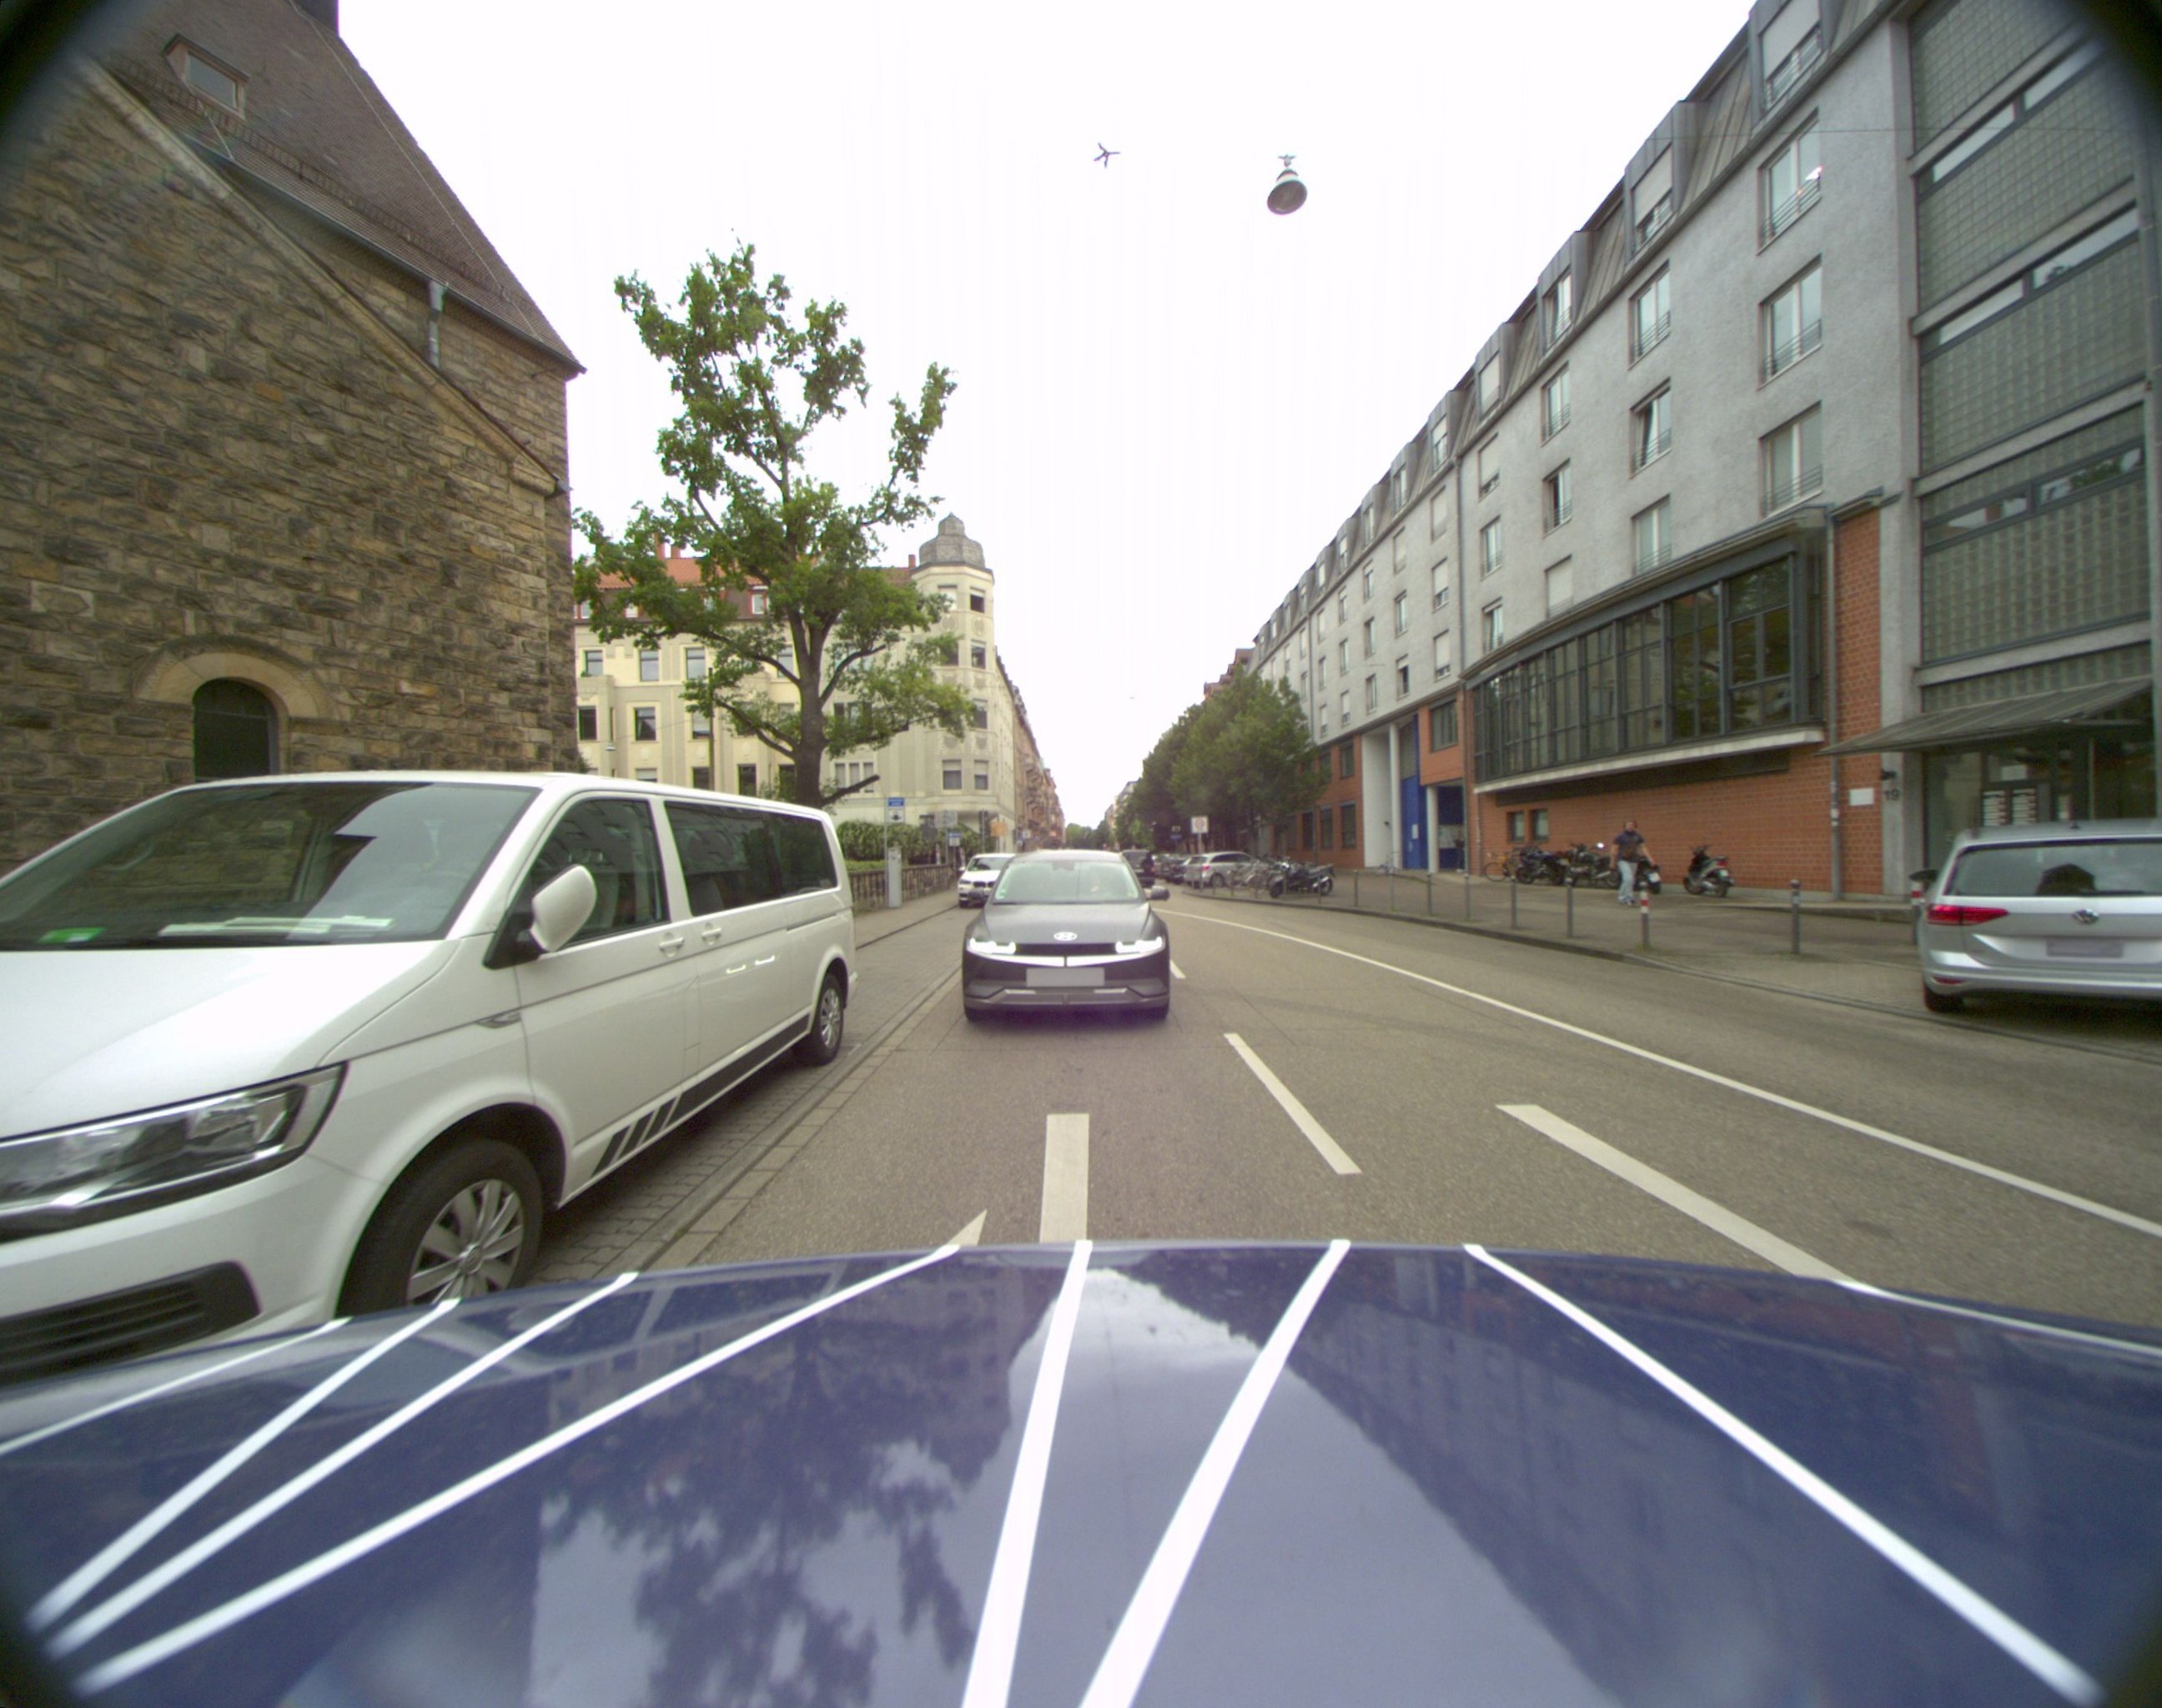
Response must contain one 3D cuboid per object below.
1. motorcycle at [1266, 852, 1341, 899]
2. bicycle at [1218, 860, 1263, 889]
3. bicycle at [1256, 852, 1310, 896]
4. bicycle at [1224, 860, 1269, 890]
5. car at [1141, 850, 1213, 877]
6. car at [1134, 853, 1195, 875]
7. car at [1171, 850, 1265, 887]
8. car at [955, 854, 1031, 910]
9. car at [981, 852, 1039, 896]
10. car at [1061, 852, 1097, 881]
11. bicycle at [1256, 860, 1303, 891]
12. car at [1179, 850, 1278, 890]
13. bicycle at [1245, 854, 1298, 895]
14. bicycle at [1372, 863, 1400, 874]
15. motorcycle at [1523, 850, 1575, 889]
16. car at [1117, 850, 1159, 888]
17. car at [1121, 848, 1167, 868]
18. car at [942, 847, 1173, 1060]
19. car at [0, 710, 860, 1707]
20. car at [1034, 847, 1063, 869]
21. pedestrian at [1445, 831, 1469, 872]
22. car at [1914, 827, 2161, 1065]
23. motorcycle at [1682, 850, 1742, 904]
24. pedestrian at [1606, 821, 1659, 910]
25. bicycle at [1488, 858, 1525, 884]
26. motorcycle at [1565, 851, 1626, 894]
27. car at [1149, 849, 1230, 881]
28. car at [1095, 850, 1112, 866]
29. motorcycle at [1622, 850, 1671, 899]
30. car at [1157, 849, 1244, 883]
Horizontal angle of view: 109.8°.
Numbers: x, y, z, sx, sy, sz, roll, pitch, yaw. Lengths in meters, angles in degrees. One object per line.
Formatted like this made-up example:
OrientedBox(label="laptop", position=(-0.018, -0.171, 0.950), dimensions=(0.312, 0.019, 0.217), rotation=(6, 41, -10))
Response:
OrientedBox(label="motorcycle", position=(6.996, 0.673, 23.895), dimensions=(2.124, 1.345, 0.599), rotation=(-3, 1, 1))
OrientedBox(label="bicycle", position=(6.303, 0.809, 30.071), dimensions=(1.630, 1.067, 0.416), rotation=(-3, 1, -1))
OrientedBox(label="bicycle", position=(6.667, 0.664, 25.108), dimensions=(1.630, 1.345, 0.416), rotation=(-3, 1, -1))
OrientedBox(label="bicycle", position=(6.440, 0.811, 29.548), dimensions=(1.630, 1.067, 0.416), rotation=(-3, 1, -1))
OrientedBox(label="car", position=(6.114, 0.583, 48.441), dimensions=(4.004, 1.619, 1.996), rotation=(-1, 0, -22))
OrientedBox(label="car", position=(6.061, 0.710, 55.079), dimensions=(4.004, 1.488, 1.735), rotation=(-1, 0, -22))
OrientedBox(label="car", position=(6.572, 0.647, 36.507), dimensions=(4.004, 1.619, 1.996), rotation=(-1, 0, -22))
OrientedBox(label="car", position=(-2.630, 0.792, 23.575), dimensions=(1.820, 1.556, 4.000), rotation=(-1, 0, 1))
OrientedBox(label="car", position=(-2.681, 0.734, 29.532), dimensions=(1.820, 1.556, 4.000), rotation=(-1, 0, 1))
OrientedBox(label="car", position=(-0.082, 0.693, 44.832), dimensions=(1.910, 1.597, 4.251), rotation=(-1, 1, 2))
OrientedBox(label="bicycle", position=(7.417, 0.792, 28.422), dimensions=(1.630, 1.067, 0.416), rotation=(-3, 1, -1))
OrientedBox(label="car", position=(6.557, 0.666, 33.847), dimensions=(4.004, 1.619, 1.769), rotation=(-1, 0, -22))
OrientedBox(label="bicycle", position=(6.448, 0.688, 25.782), dimensions=(1.630, 1.282, 0.416), rotation=(-3, 1, -1))
OrientedBox(label="bicycle", position=(13.438, 0.619, 33.495), dimensions=(1.010, 0.434, 0.527), rotation=(-1, 2, 2))
OrientedBox(label="motorcycle", position=(13.685, 0.431, 22.268), dimensions=(0.446, 1.091, 1.763), rotation=(-1, 0, 1))
OrientedBox(label="car", position=(2.820, 0.702, 38.205), dimensions=(1.698, 1.793, 4.128), rotation=(-1, 0, -2))
OrientedBox(label="car", position=(6.146, 0.360, 74.738), dimensions=(4.004, 1.898, 1.996), rotation=(-1, 0, -22))
OrientedBox(label="car", position=(-0.163, 0.795, 8.110), dimensions=(1.820, 1.675, 4.000), rotation=(-1, 0, 1))
OrientedBox(label="car", position=(-2.743, 0.721, 3.725), dimensions=(1.810, 1.908, 5.163), rotation=(-1, 0, -1))
OrientedBox(label="car", position=(-2.355, 0.263, 56.063), dimensions=(1.820, 1.556, 4.000), rotation=(-1, 0, 1))
OrientedBox(label="pedestrian", position=(15.270, -0.105, 30.868), dimensions=(0.686, 1.640, 0.622), rotation=(-2, 1, 2))
OrientedBox(label="car", position=(9.048, 0.634, 6.879), dimensions=(4.006, 1.545, 1.729), rotation=(-4, 1, -39))
OrientedBox(label="motorcycle", position=(13.553, 0.470, 16.366), dimensions=(0.445, 1.091, 1.765), rotation=(-1, 0, 21))
OrientedBox(label="pedestrian", position=(11.497, 0.238, 15.856), dimensions=(0.621, 1.812, 0.642), rotation=(-1, 1, 1))
OrientedBox(label="bicycle", position=(13.896, 0.543, 24.852), dimensions=(0.336, 0.783, 1.581), rotation=(-1, 0, 1))
OrientedBox(label="motorcycle", position=(13.687, 0.460, 20.260), dimensions=(0.446, 1.091, 1.763), rotation=(-1, 0, 1))
OrientedBox(label="car", position=(6.066, 0.600, 42.495), dimensions=(4.004, 1.619, 1.996), rotation=(-1, 0, -22))
OrientedBox(label="car", position=(2.786, 0.458, 93.654), dimensions=(1.998, 1.897, 4.000), rotation=(-1, 0, 1))
OrientedBox(label="motorcycle", position=(13.352, 0.472, 17.982), dimensions=(0.445, 1.091, 1.765), rotation=(-1, 0, 21))
OrientedBox(label="car", position=(6.253, 0.623, 39.726), dimensions=(4.004, 1.619, 1.996), rotation=(-1, 0, -22))
